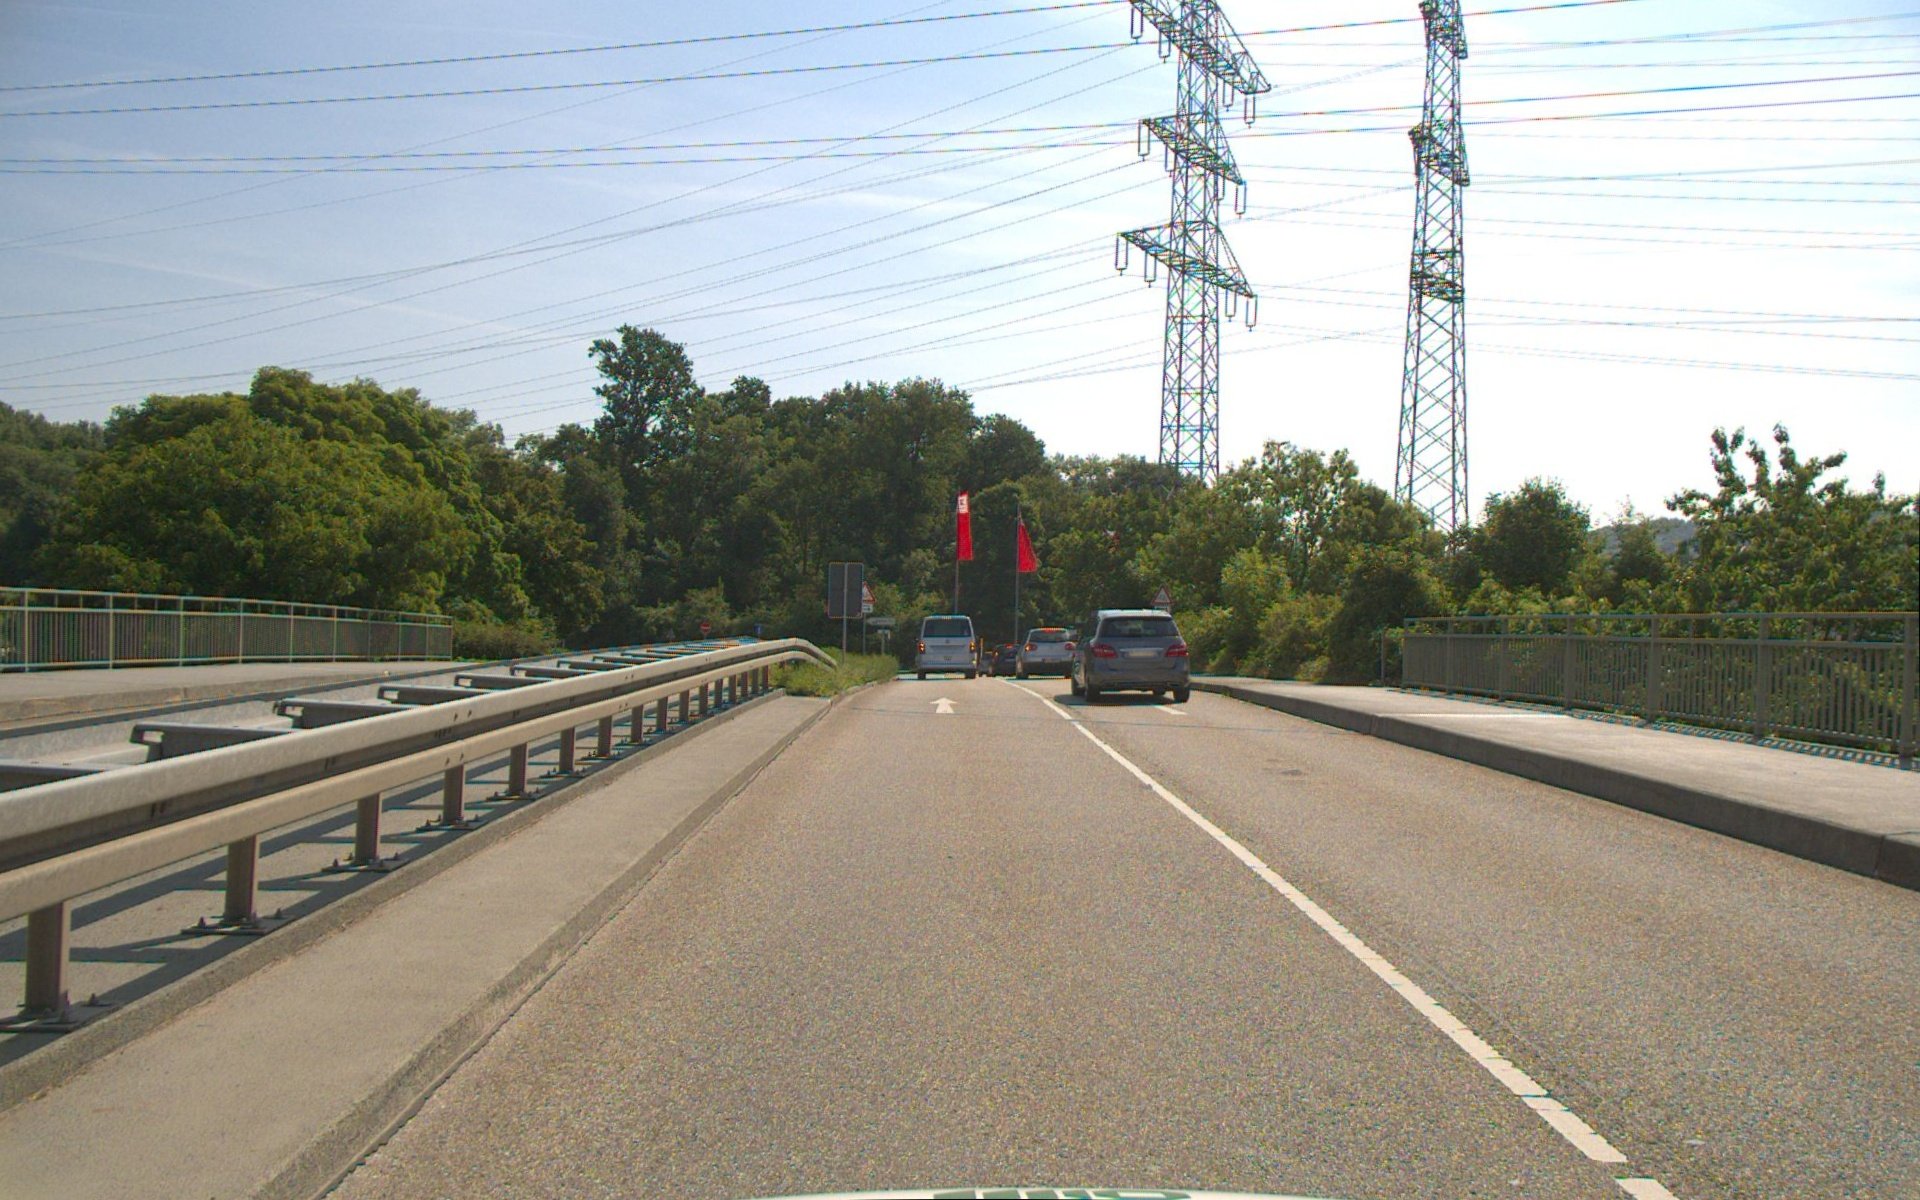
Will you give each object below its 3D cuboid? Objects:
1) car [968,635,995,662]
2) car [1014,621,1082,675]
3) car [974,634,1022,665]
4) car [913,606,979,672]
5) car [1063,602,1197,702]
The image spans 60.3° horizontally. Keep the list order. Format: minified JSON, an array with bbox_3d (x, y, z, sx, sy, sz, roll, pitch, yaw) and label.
[{"bbox_3d":[1.261,2.930,99.126,1.518,1.581,3.553,1,-2,-1],"label":"car"},{"bbox_3d":[2.610,1.483,49.900,1.818,1.556,4.143,0,-2,0],"label":"car"},{"bbox_3d":[1.793,2.295,76.321,1.735,1.355,3.743,0,-2,8],"label":"car"},{"bbox_3d":[-0.494,1.242,53.053,1.998,2.049,3.998,0,-1,-2],"label":"car"},{"bbox_3d":[2.899,0.844,29.011,1.819,1.556,4.143,0,1,-2],"label":"car"}]
